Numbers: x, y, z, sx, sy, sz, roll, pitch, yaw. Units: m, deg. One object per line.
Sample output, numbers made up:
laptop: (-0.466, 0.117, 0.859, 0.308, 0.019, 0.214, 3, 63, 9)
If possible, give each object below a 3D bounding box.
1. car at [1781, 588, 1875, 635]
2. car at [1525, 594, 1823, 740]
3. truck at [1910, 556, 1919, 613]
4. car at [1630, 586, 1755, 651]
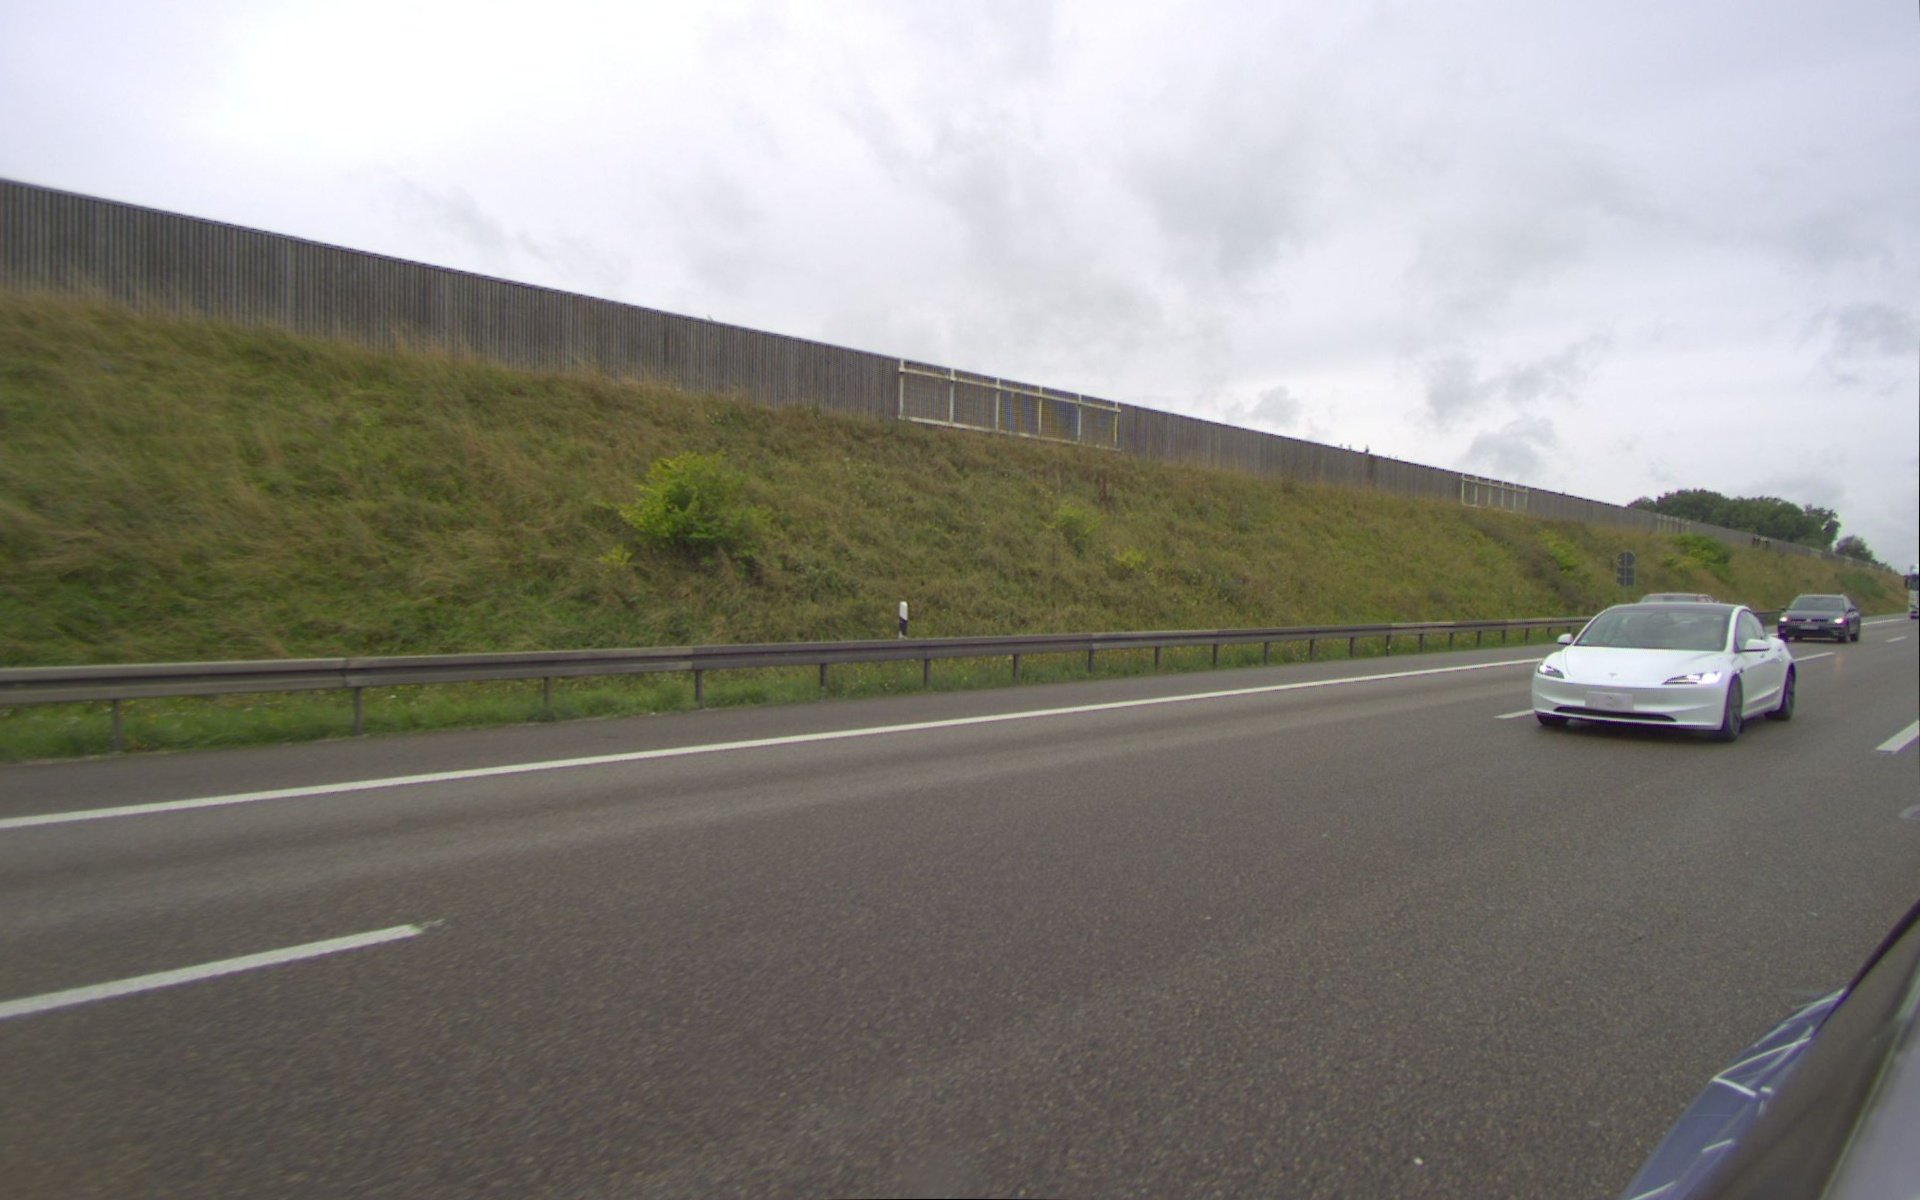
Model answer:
car: (30.277, 0.367, 35.268, 4.409, 1.508, 1.927, -1, 0, -42)
car: (8.669, 0.639, 12.106, 4.730, 1.380, 1.876, -1, 0, -42)
truck: (72.366, -1.164, 74.458, 6.839, 4.077, 3.085, -1, 0, -42)
car: (19.190, 0.434, 26.468, 3.931, 1.554, 1.876, -1, 0, -42)
